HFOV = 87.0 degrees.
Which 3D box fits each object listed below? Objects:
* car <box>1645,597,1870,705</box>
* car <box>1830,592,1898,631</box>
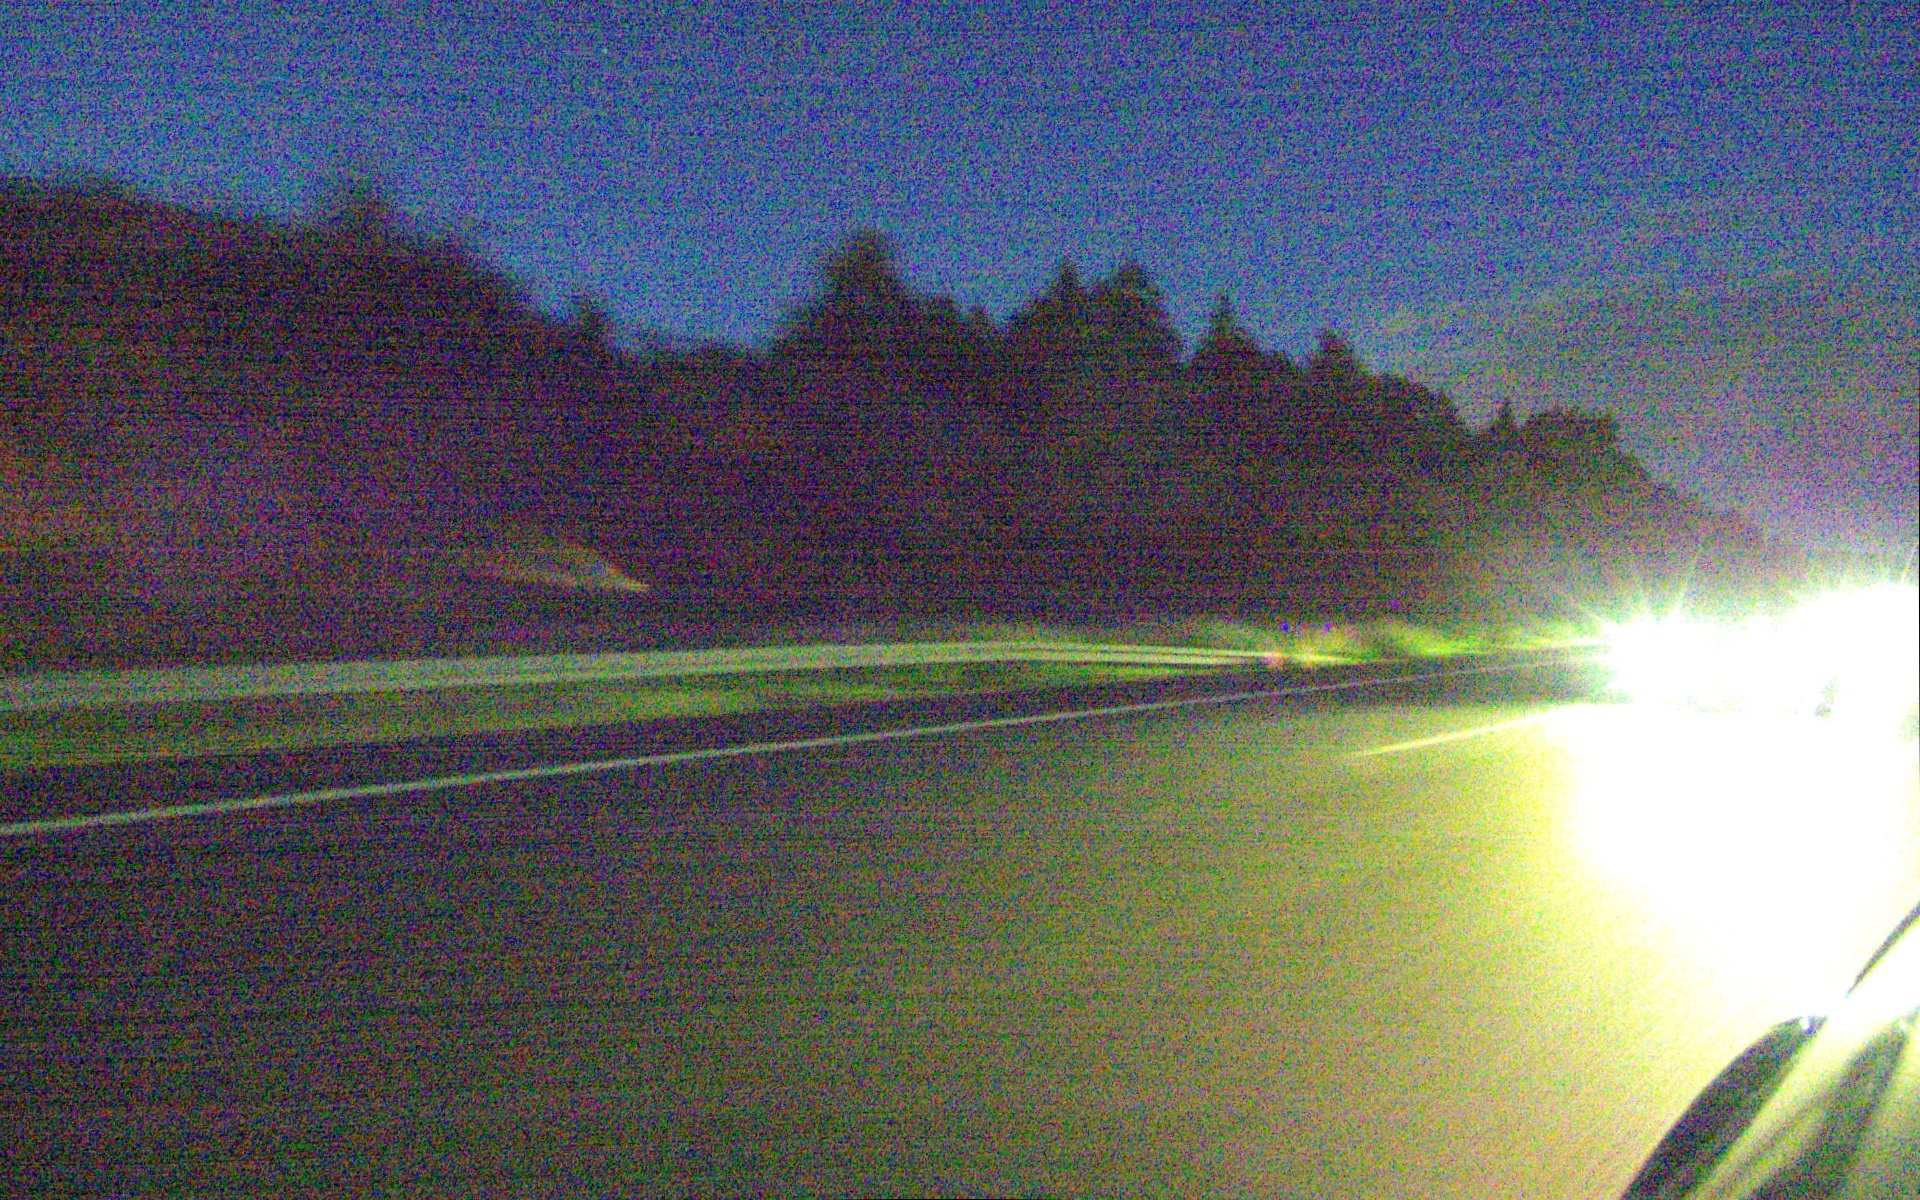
[{"bbox_3d":[12.373,0.682,15.563,4.980,1.419,1.838,0,-1,-41],"label":"car"},{"bbox_3d":[42.412,0.523,47.419,5.081,1.739,1.995,1,-1,-44],"label":"car"}]
